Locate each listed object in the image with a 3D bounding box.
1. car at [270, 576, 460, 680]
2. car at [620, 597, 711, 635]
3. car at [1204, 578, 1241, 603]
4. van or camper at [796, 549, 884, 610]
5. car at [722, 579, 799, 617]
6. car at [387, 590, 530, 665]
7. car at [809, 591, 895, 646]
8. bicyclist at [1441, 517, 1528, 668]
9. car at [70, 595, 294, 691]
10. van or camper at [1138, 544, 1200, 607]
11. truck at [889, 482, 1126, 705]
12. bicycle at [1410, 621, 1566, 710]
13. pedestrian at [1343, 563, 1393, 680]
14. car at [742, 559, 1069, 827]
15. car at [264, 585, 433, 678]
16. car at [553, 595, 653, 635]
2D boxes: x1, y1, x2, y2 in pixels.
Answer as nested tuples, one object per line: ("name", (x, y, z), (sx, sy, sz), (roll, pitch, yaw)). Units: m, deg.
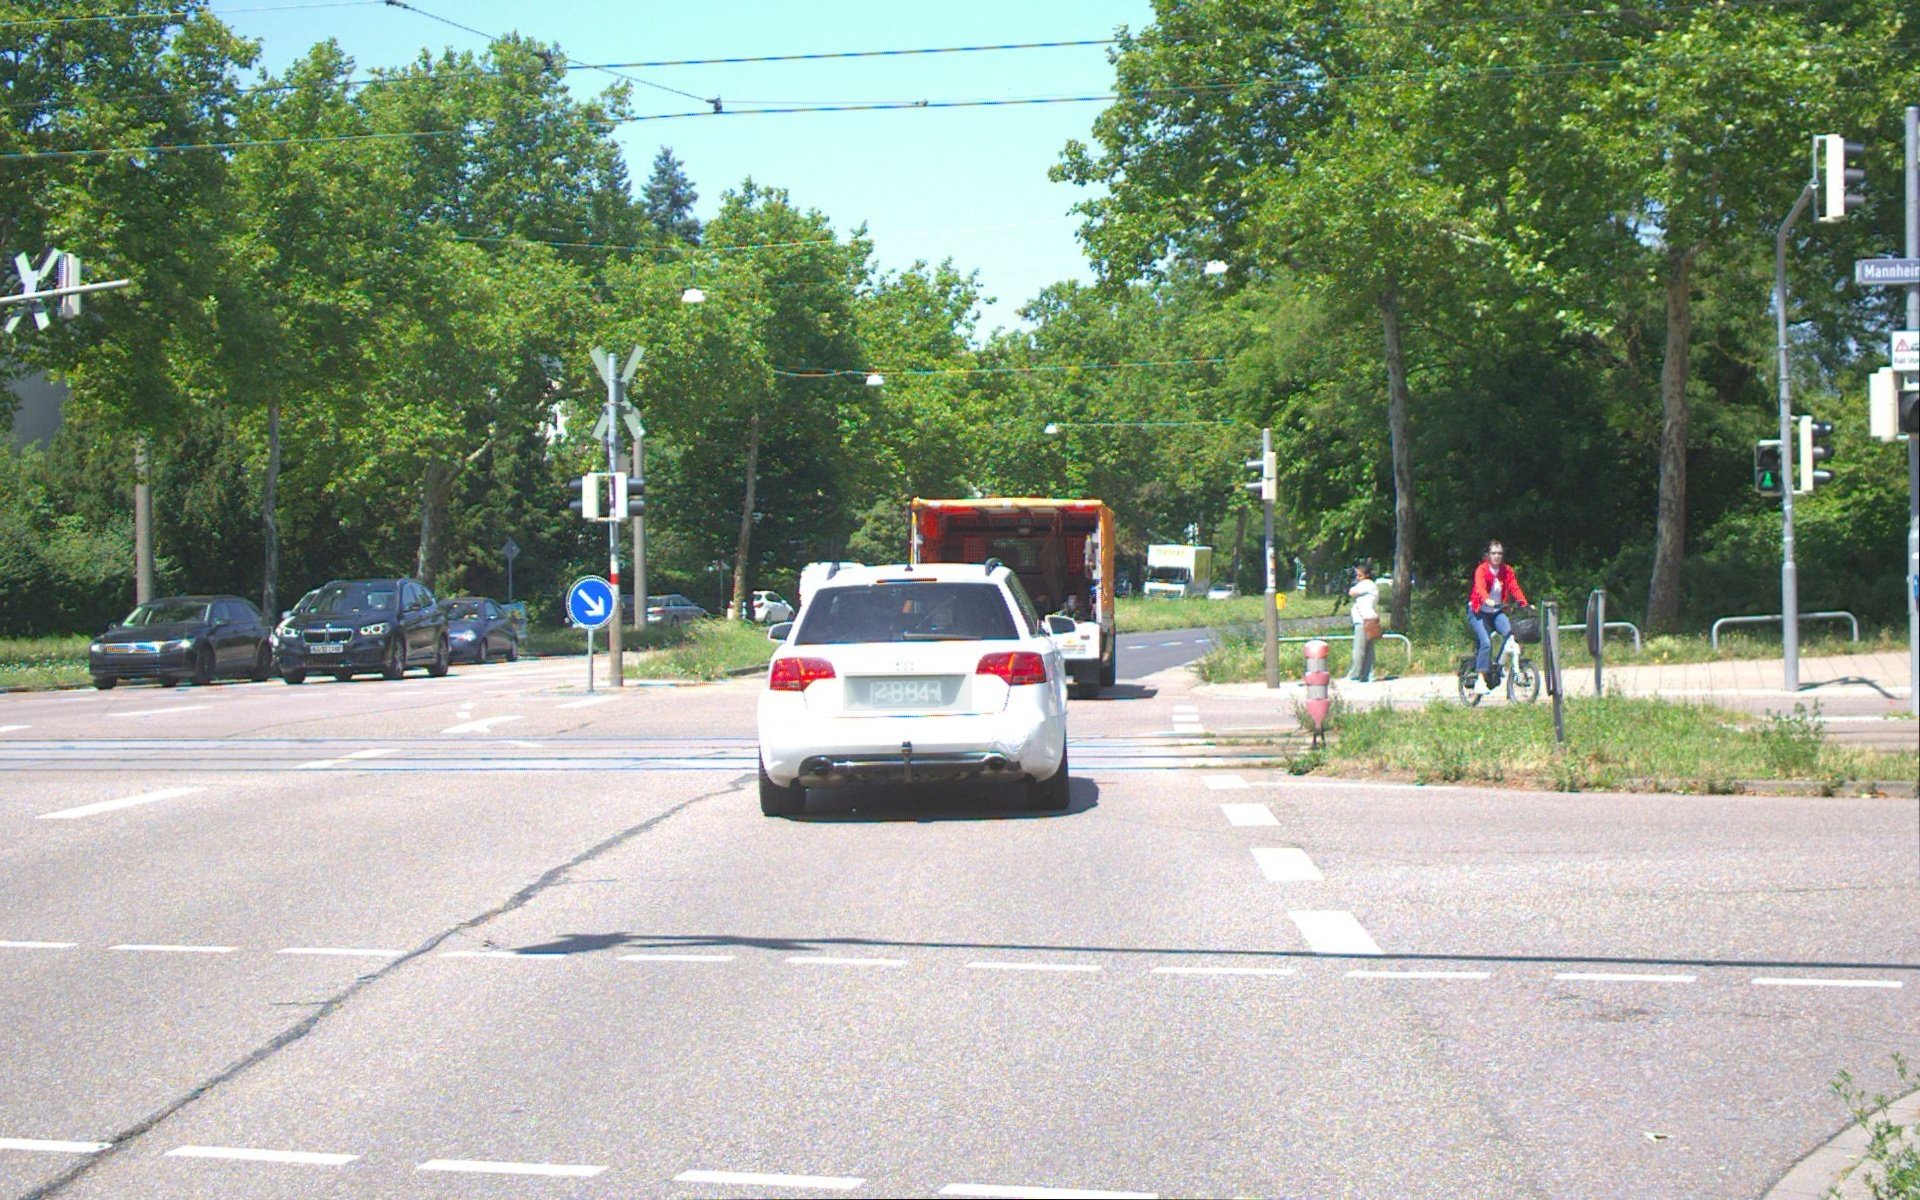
("car", (-9.294, 0.406, 54.022), (1.909, 1.533, 4.298), (-1, 0, 5))
("car", (-11.047, 0.602, 129.195), (1.883, 1.371, 3.996), (-1, 0, 20))
("car", (15.170, -0.546, 198.193), (1.914, 1.206, 4.334), (4, 0, 6))
("van or camper", (-5.135, -0.900, 147.867), (2.184, 2.579, 5.304), (-1, 0, 17))
("car", (-8.043, -0.078, 138.875), (1.883, 1.469, 3.997), (-1, 0, 16))
("car", (-10.430, 0.600, 71.704), (1.721, 1.450, 3.866), (0, -2, 12))
("car", (-2.954, 0.490, 94.708), (1.736, 1.390, 4.177), (1, 1, 7))
("bicyclist", (5.484, -0.079, 35.971), (0.577, 1.551, 0.673), (-1, 0, -31))
("car", (-12.599, 0.670, 55.994), (1.950, 1.435, 4.745), (-1, 1, 9))
("van or camper", (11.305, -1.301, 185.950), (2.662, 3.320, 5.498), (-1, 0, 11))
("truck", (0.735, -0.149, 43.693), (2.511, 2.551, 7.602), (1, 1, 4))
("bicycle", (5.506, 0.677, 35.940), (0.587, 0.892, 1.811), (-1, 0, -31))
("pedestrian", (5.221, 0.266, 43.948), (0.553, 1.479, 0.629), (-1, 0, 12))
("car", (-0.296, 0.486, 20.364), (1.762, 1.440, 3.616), (0, 0, 0))
("car", (-11.274, 0.565, 63.684), (1.788, 1.609, 4.403), (-1, 1, 8))
("car", (-12.833, 0.537, 123.747), (1.884, 1.388, 3.995), (-1, 0, 23))
